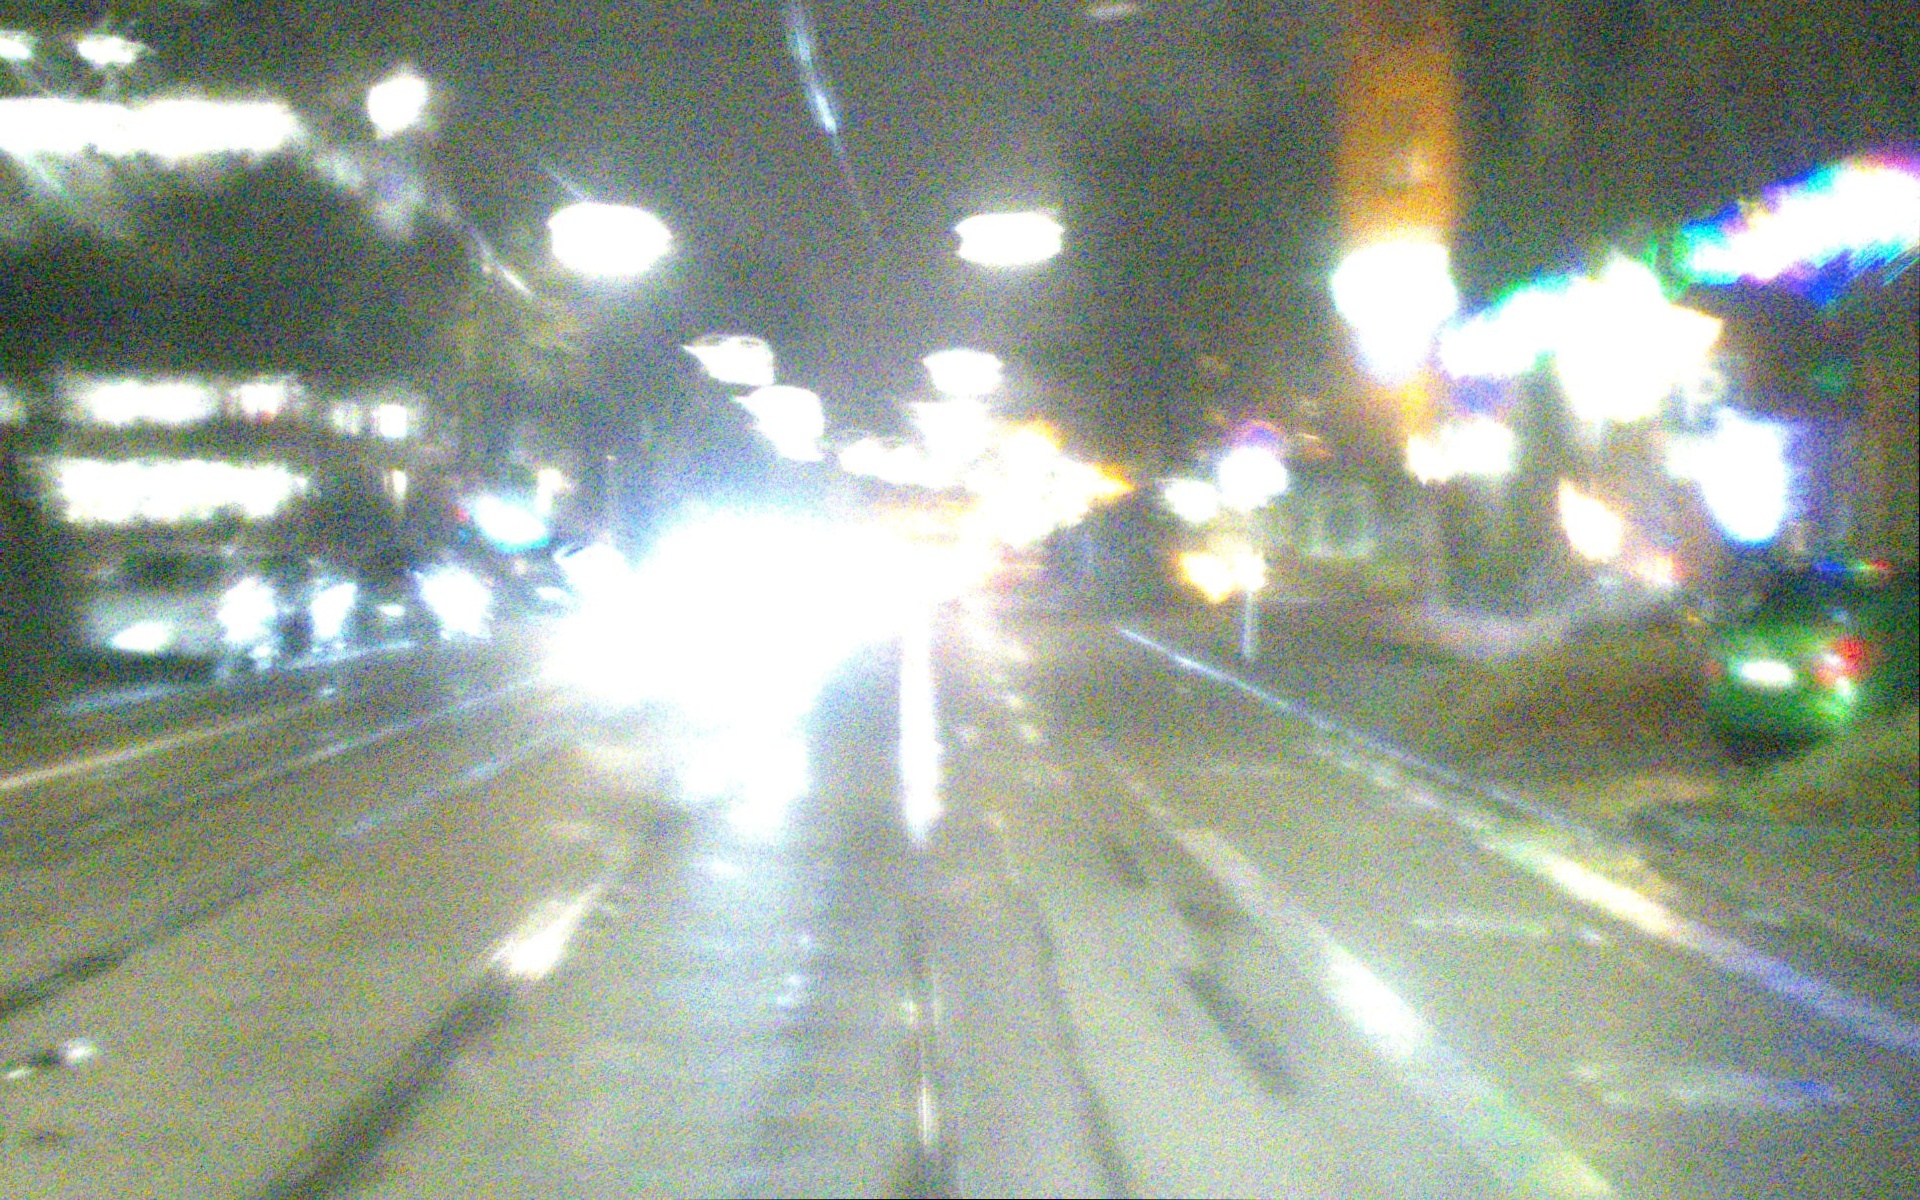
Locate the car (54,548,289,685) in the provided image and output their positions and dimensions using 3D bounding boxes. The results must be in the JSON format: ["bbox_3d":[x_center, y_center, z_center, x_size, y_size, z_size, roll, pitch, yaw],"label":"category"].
[{"bbox_3d":[-9.866,0.175,43.366,1.983,1.625,4.517,0,0,-1],"label":"car"}]

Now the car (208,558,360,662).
[{"bbox_3d":[-9.903,0.112,50.581,1.690,1.417,3.915,0,1,-4],"label":"car"}]

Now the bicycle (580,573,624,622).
[{"bbox_3d":[-8.186,-0.071,78.618,0.782,1.078,1.918,-2,0,-1],"label":"bicycle"}]

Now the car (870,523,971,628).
[{"bbox_3d":[-0.951,-0.578,80.371,2.244,2.353,4.394,0,0,-2],"label":"car"}]

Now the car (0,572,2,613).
[{"bbox_3d":[-9.689,0.475,29.496,1.880,1.540,4.400,4,0,-4],"label":"car"}]

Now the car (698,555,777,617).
[{"bbox_3d":[-5.634,-0.370,87.530,1.776,1.512,4.051,0,1,0],"label":"car"}]

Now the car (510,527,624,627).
[{"bbox_3d":[-10.575,-0.675,92.983,2.185,2.583,6.392,0,1,1],"label":"car"}]

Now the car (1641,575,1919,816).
[{"bbox_3d":[6.970,0.611,23.726,4.092,1.532,1.961,0,0,-26],"label":"car"}]

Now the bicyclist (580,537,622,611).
[{"bbox_3d":[-8.204,-0.595,78.619,0.782,1.650,1.206,-2,0,0],"label":"bicyclist"}]

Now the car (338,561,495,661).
[{"bbox_3d":[-9.665,0.172,61.488,1.969,1.650,4.601,2,0,1],"label":"car"}]
